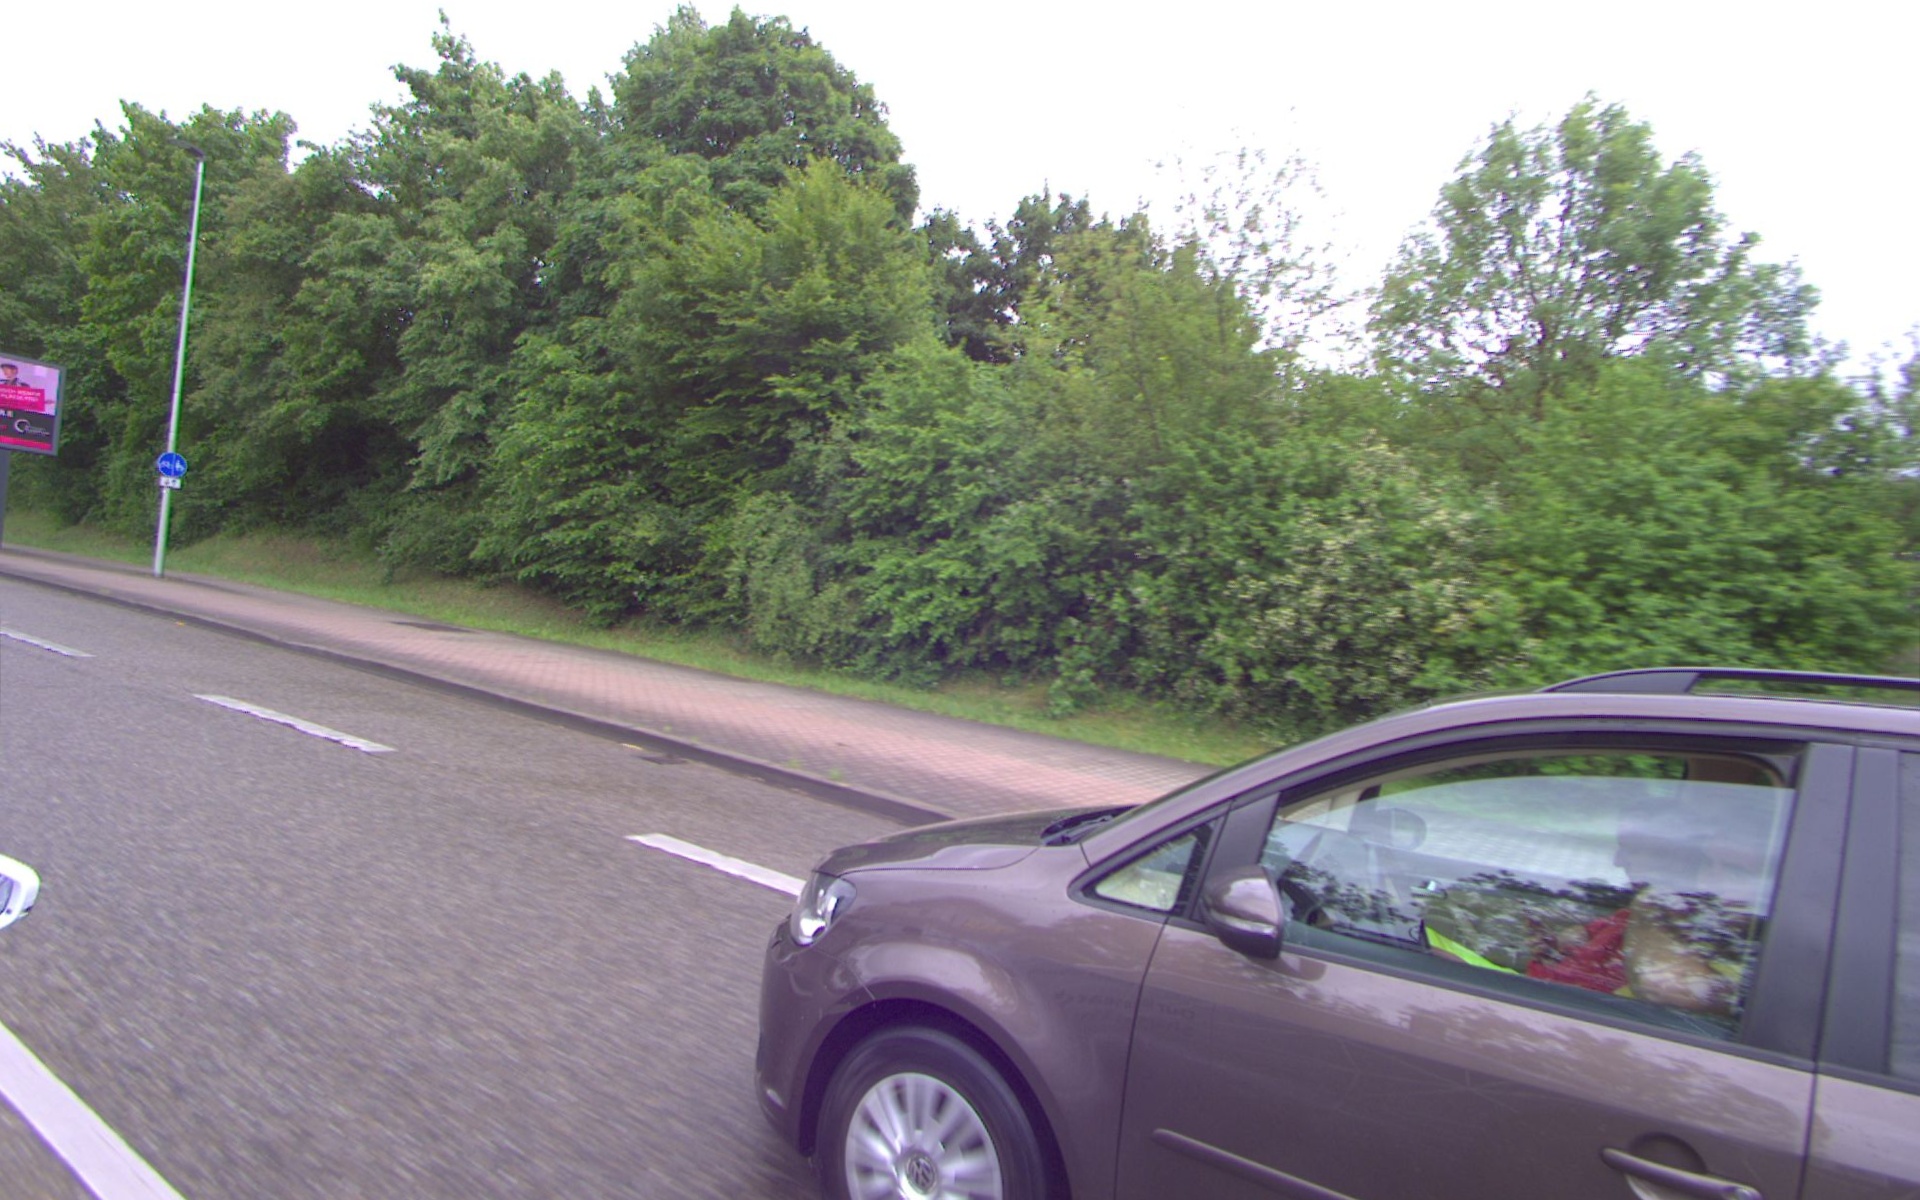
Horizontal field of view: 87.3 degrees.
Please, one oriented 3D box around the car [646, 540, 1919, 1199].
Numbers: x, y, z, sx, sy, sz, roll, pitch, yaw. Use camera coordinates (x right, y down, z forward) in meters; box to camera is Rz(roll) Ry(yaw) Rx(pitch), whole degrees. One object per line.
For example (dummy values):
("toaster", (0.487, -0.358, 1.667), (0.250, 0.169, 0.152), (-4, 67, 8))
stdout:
("car", (1.443, 0.929, 2.277), (4.062, 1.615, 1.717), (7, -2, 31))
